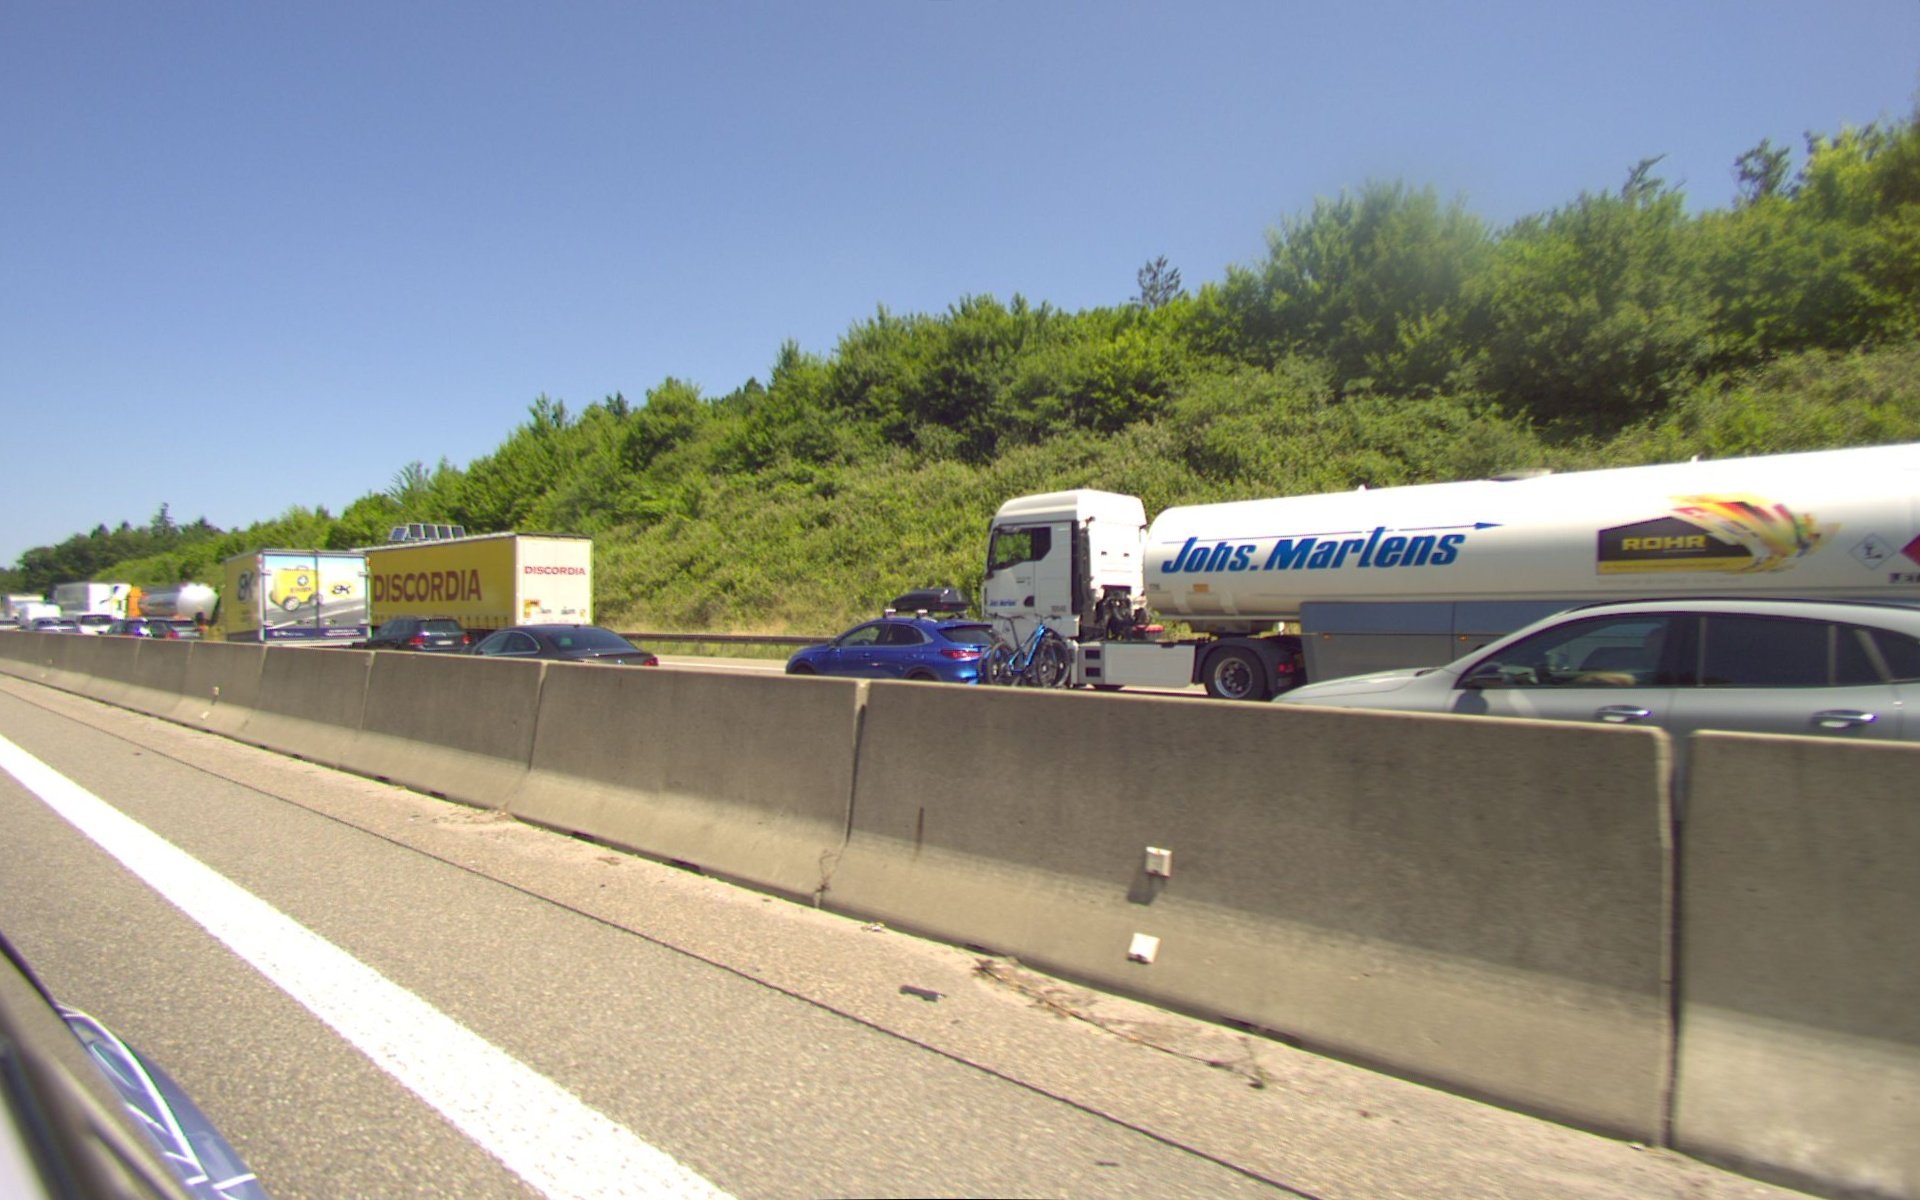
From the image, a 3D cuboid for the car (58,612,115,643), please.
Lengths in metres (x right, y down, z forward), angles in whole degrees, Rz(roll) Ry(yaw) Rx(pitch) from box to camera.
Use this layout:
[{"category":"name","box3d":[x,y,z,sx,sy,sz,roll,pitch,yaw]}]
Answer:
[{"category":"car","box3d":[-53.357,1.639,61.790,4.754,1.776,1.810,0,0,39]}]

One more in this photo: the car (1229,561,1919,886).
[{"category":"car","box3d":[4.223,0.567,6.041,4.754,1.508,1.810,0,0,39]}]

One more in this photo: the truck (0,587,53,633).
[{"category":"truck","box3d":[-99.232,0.953,106.234,19.442,4.490,3.658,0,0,41]}]

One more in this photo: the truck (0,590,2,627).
[{"category":"truck","box3d":[-125.913,1.088,129.073,19.442,4.490,3.658,0,0,41]}]

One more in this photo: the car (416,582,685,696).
[{"category":"car","box3d":[-6.436,0.520,15.654,4.754,1.508,1.810,0,0,39]}]

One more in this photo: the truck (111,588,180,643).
[{"category":"truck","box3d":[-53.184,1.035,66.031,5.180,3.391,2.469,-3,-1,39]}]

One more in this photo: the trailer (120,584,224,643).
[{"category":"trailer","box3d":[-48.681,0.927,62.331,11.684,3.319,2.552,-2,-1,39]}]

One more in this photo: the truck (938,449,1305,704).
[{"category":"truck","box3d":[2.701,-0.345,17.877,5.866,3.771,2.652,0,0,39]}]

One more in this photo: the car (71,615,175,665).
[{"category":"car","box3d":[-28.144,1.293,33.967,4.754,1.508,1.810,0,0,39]}]

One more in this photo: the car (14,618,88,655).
[{"category":"car","box3d":[-41.493,1.627,46.145,4.754,1.508,1.810,0,0,39]}]

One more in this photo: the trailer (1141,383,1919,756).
[{"category":"trailer","box3d":[7.779,-0.253,13.609,10.676,3.761,2.583,-1,-1,41]}]

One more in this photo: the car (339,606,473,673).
[{"category":"car","box3d":[-16.327,1.080,29.691,4.987,1.778,1.809,0,0,41]}]

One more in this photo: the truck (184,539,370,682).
[{"category":"truck","box3d":[-16.830,0.227,24.738,6.776,3.039,2.243,0,0,43]}]

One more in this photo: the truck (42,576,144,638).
[{"category":"truck","box3d":[-68.506,0.507,79.709,17.372,4.490,3.658,0,0,41]}]

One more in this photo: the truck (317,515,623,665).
[{"category":"truck","box3d":[-18.770,-0.287,37.434,17.372,4.490,3.658,0,0,41]}]

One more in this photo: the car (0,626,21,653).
[{"category":"car","box3d":[-56.743,2.309,59.334,4.754,1.508,1.810,0,0,39]}]

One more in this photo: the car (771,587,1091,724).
[{"category":"car","box3d":[-0.597,0.721,15.492,4.987,1.778,1.809,0,0,41]}]

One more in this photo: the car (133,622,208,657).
[{"category":"car","box3d":[-37.357,1.828,47.829,4.754,1.508,1.810,0,0,39]}]

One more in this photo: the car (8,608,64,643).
[{"category":"car","box3d":[-67.832,1.842,74.255,6.536,2.402,2.162,0,0,40]}]
